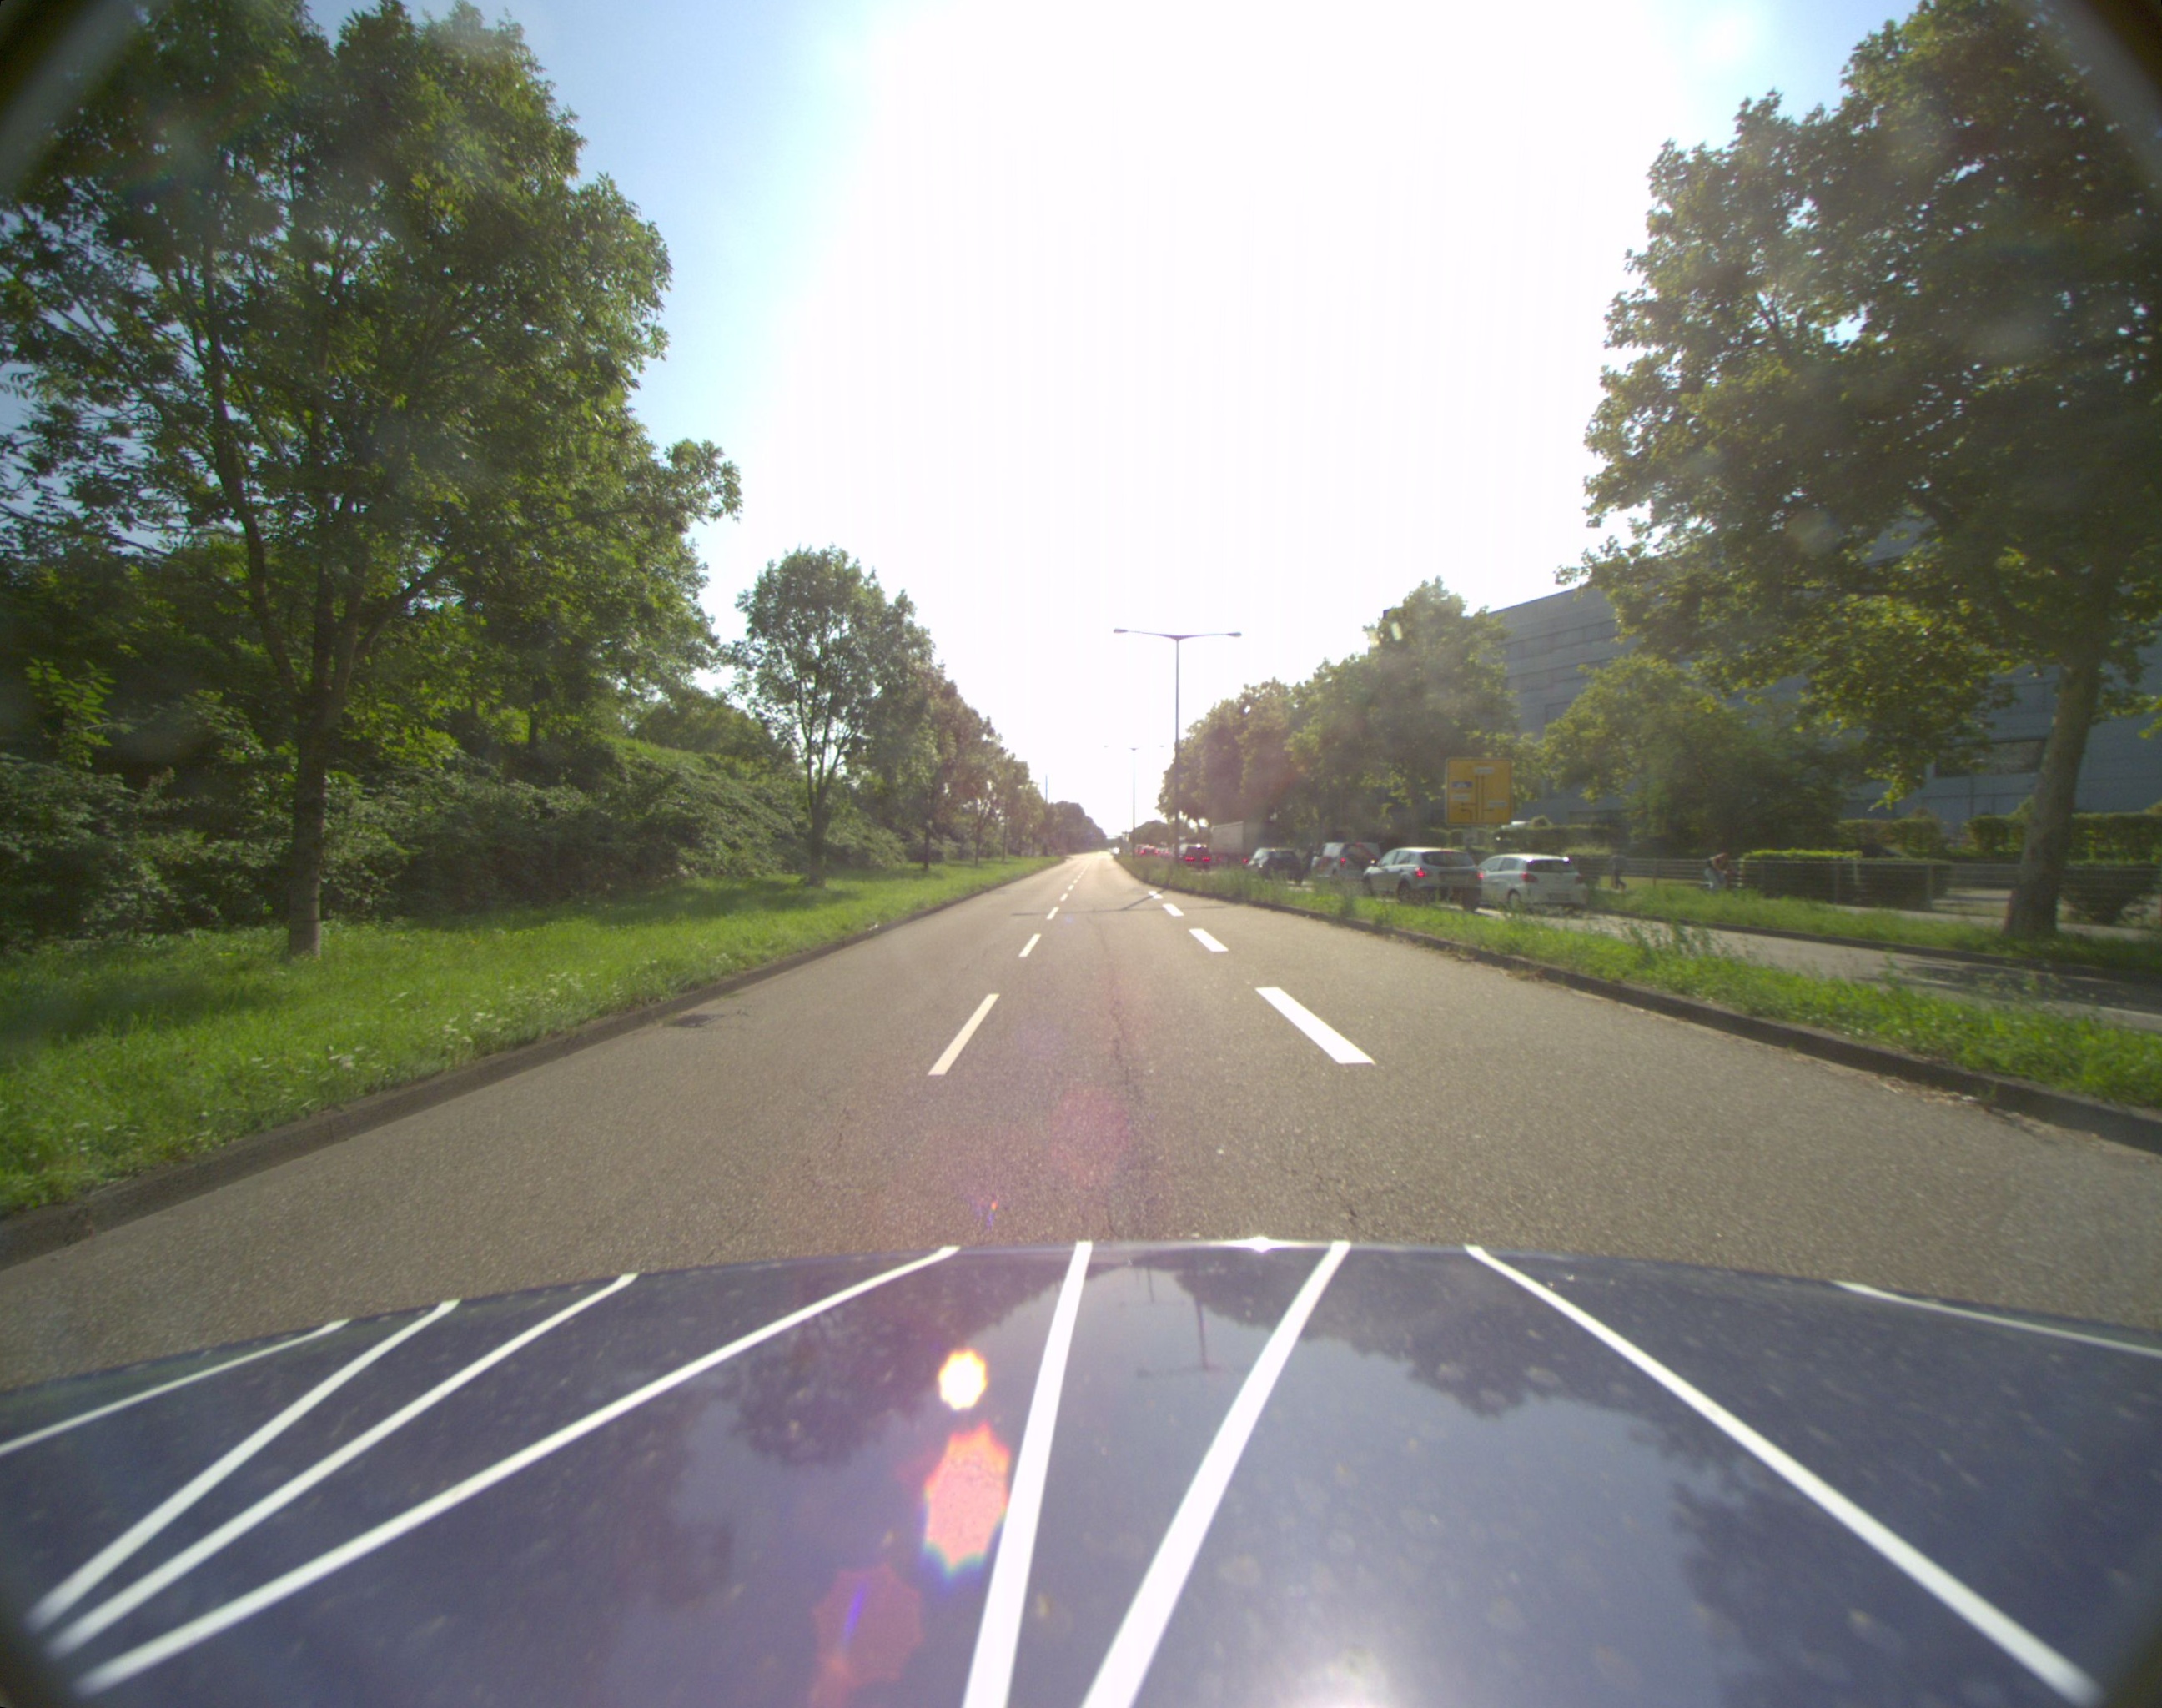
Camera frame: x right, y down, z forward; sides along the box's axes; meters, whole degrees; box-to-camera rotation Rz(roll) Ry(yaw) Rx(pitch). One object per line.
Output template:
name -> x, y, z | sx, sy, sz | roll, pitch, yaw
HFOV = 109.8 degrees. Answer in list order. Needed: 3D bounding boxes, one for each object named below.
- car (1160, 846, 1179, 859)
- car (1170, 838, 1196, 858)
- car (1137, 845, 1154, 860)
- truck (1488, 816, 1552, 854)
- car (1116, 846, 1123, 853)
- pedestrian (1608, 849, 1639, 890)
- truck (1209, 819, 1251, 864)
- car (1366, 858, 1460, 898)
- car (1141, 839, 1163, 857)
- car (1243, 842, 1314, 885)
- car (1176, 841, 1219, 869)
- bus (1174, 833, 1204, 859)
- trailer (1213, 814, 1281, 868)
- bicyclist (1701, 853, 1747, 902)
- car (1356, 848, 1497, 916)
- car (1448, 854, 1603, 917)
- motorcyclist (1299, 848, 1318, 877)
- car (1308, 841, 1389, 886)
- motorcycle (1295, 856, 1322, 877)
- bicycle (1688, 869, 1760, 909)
car -> 10.250, -0.202, 88.158 | 1.699, 1.520, 4.140 | 2, 1, 1
car -> 10.120, -0.589, 76.017 | 1.998, 1.942, 5.035 | 1, 1, 1
car -> 8.382, -0.212, 99.028 | 1.916, 1.853, 4.889 | 0, 1, 1
truck -> 34.700, -1.489, 59.977 | 5.915, 2.844, 2.233 | -1, 1, -36
car -> 8.893, -1.038, 177.159 | 1.544, 1.433, 3.396 | 0, -1, 5
pedestrian -> 22.245, 0.625, 31.177 | 0.618, 1.643, 0.934 | -1, 1, 1
truck -> 13.115, -1.088, 67.315 | 2.614, 3.798, 5.891 | 1, 1, 1
car -> 11.995, 0.814, 27.726 | 1.795, 1.255, 4.095 | 1, 1, 3
car -> 7.304, -0.608, 79.034 | 1.958, 1.714, 4.587 | 1, 0, 1
car -> 8.729, 0.354, 33.953 | 1.998, 1.749, 4.306 | 2, 1, 0
car -> 7.641, 0.035, 50.231 | 1.999, 1.749, 4.476 | 0, 1, -1
bus -> 13.921, -1.049, 98.987 | 2.596, 3.062, 12.312 | -1, 1, 2
trailer -> 12.995, -1.022, 60.875 | 2.639, 3.800, 13.811 | 1, 1, 1
bicyclist -> 19.427, 0.690, 22.962 | 0.649, 1.431, 0.840 | 0, 1, 1
car -> 8.914, 0.639, 20.034 | 1.884, 1.584, 4.108 | 0, 1, 1
car -> 11.692, 0.760, 20.327 | 1.795, 1.473, 3.999 | 0, 1, 0
motorcyclist -> 12.365, 0.439, 41.247 | 0.779, 1.545, 0.922 | -1, 1, 2
car -> 12.058, 0.371, 34.642 | 1.989, 1.848, 4.969 | 2, 1, 1
motorcycle -> 12.373, 0.665, 41.406 | 0.796, 1.101, 2.467 | -1, 1, 2
bicycle -> 19.414, 1.035, 22.994 | 0.649, 1.101, 1.800 | 0, 1, 1
